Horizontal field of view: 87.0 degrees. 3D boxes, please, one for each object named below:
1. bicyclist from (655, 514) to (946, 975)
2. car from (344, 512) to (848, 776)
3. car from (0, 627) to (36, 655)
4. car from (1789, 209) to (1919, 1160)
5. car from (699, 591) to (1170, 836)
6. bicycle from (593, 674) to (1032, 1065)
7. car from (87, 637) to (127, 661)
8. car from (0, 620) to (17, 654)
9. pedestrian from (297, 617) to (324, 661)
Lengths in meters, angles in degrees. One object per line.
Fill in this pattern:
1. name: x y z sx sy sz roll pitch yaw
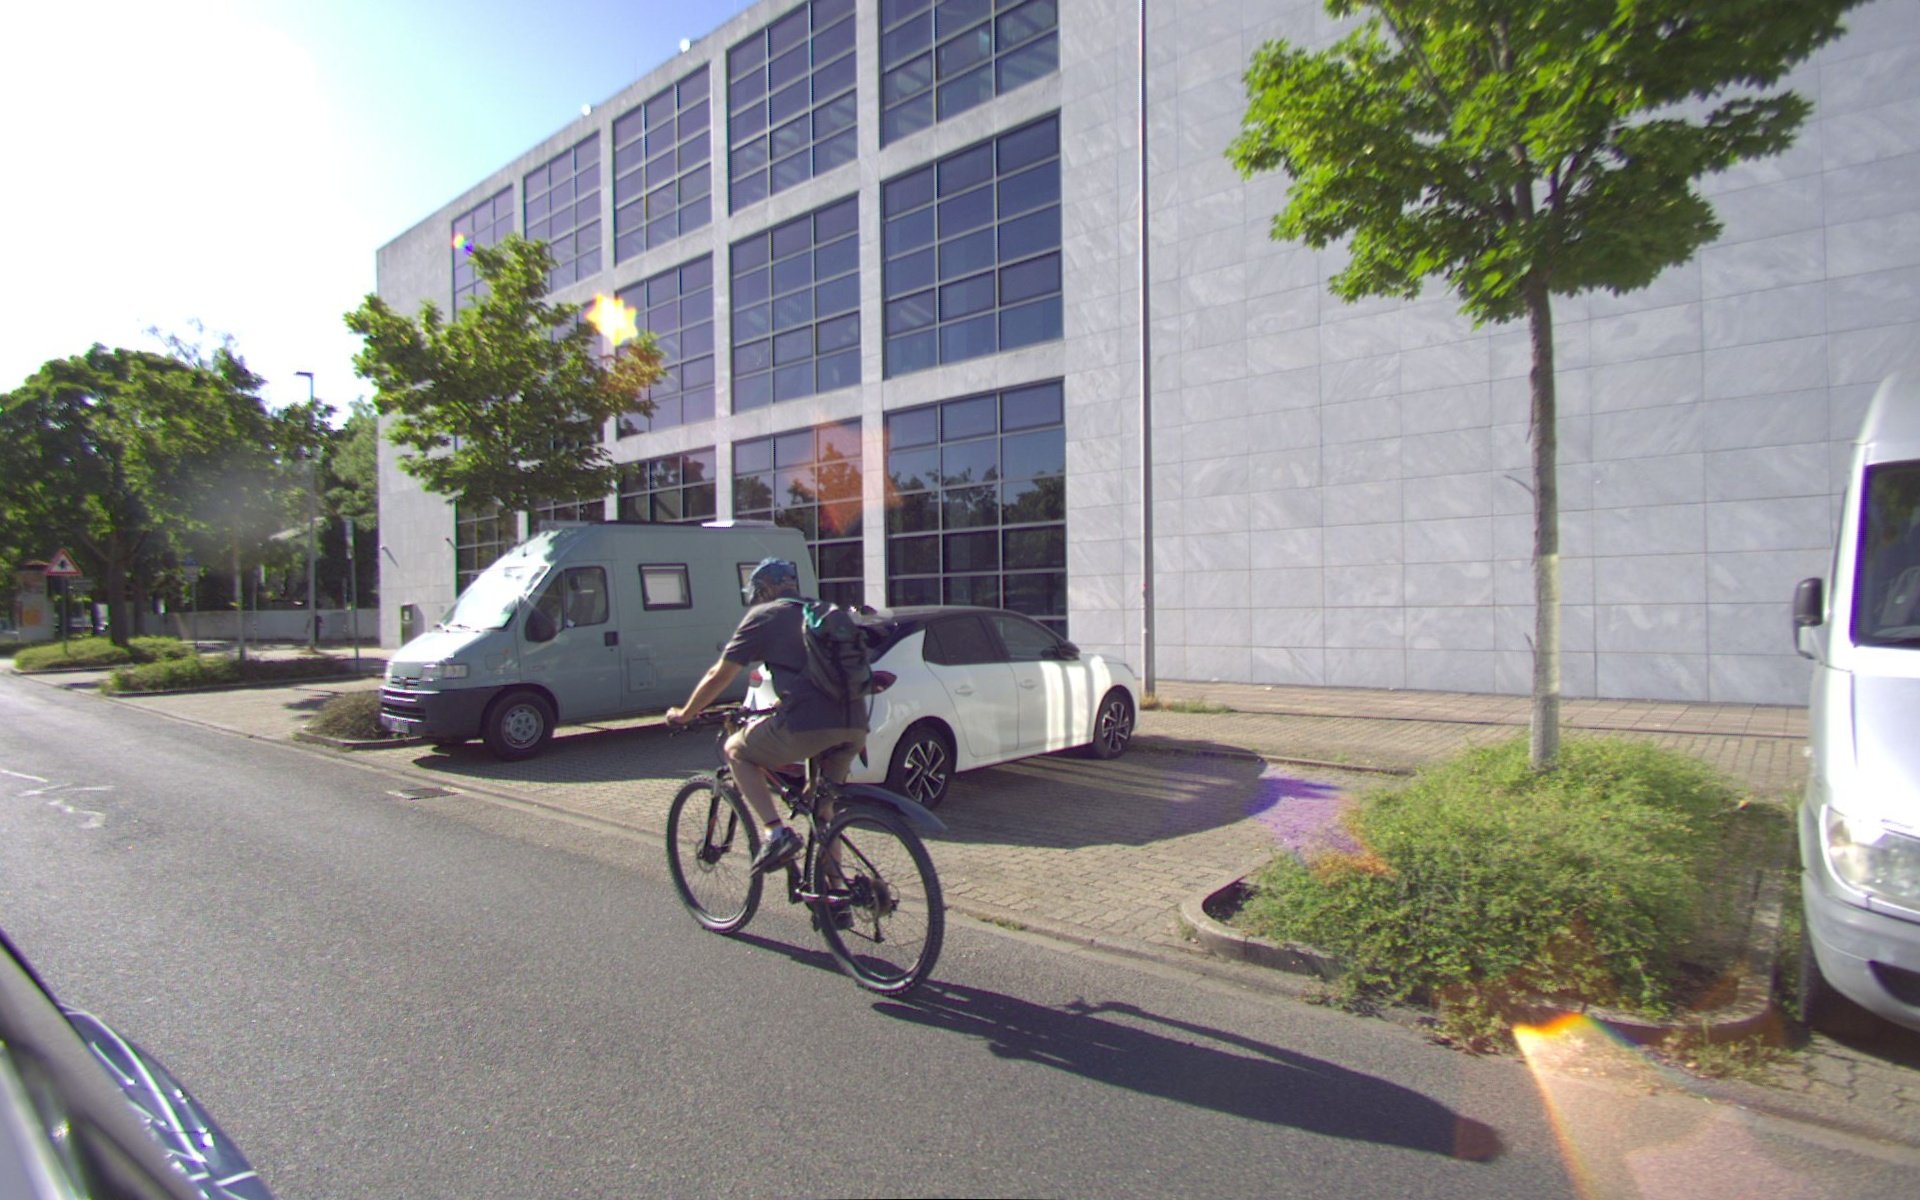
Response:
1. bicyclist: -0.667 0.512 4.128 0.675 1.593 1.062 2 -2 -44
2. car: -4.005 0.328 12.002 2.122 2.436 5.194 -2 1 41
3. car: -53.030 2.309 54.493 1.828 1.416 4.624 -2 1 42
4. car: 4.848 0.127 4.091 1.987 2.428 5.492 -2 0 42
5. car: -0.038 0.740 8.568 1.848 1.483 3.789 -2 1 42
6. bicycle: -0.710 0.913 4.155 0.690 1.119 2.080 2 -2 -44
7. car: -62.421 3.553 74.042 4.146 1.626 1.809 -2 -2 45
8. car: -58.763 2.246 59.578 1.998 2.006 4.575 -3 -2 39
9. pedestrian: -25.536 1.533 39.799 0.825 1.697 0.809 1 -2 -36
